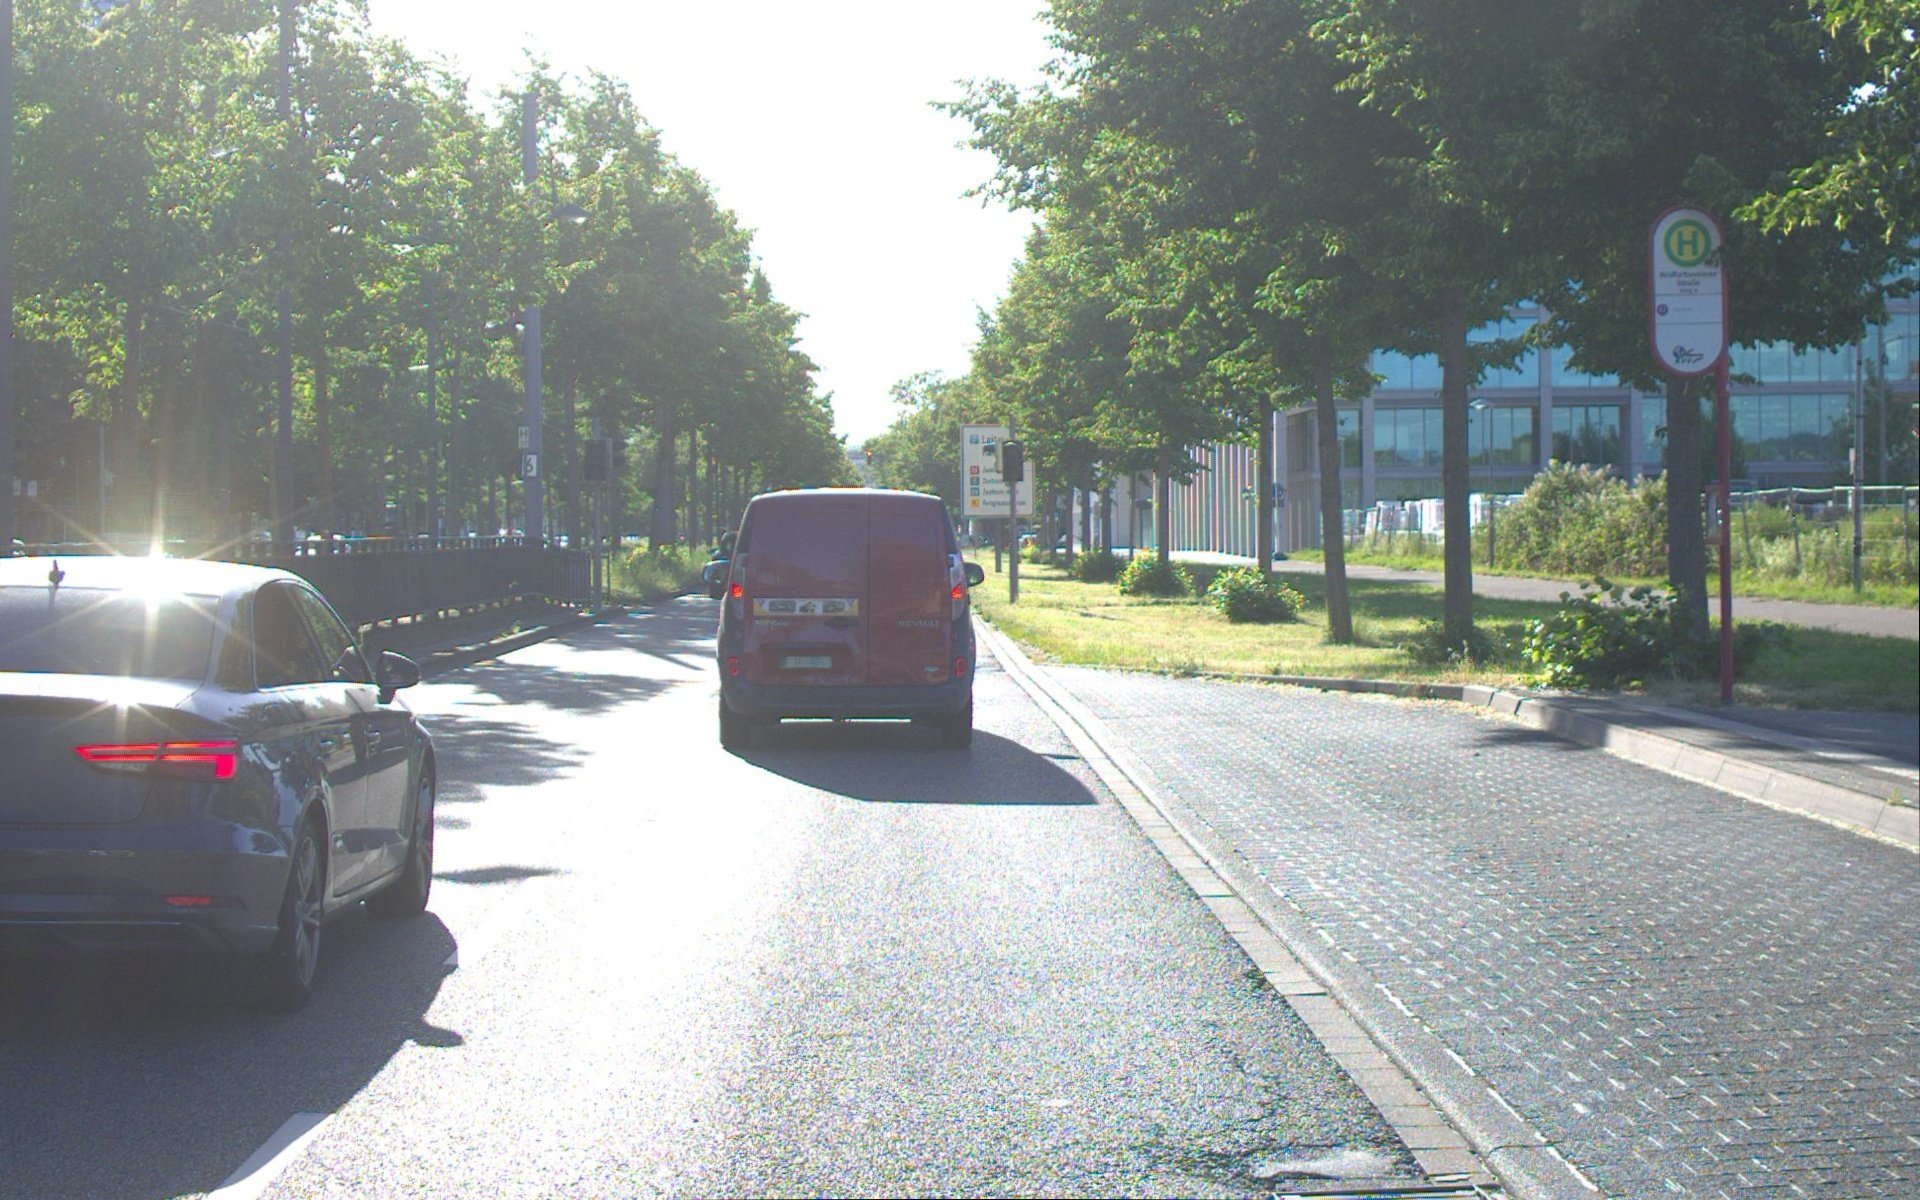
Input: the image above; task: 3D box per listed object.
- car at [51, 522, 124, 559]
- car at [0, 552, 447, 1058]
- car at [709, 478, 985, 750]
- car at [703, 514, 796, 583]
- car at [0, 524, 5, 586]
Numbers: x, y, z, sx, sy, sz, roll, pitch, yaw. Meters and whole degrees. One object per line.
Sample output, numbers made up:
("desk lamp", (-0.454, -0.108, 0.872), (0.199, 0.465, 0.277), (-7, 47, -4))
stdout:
("car", (-33.456, -2.296, 131.900), (1.715, 1.415, 4.545), (0, 1, -1))
("car", (-2.907, 0.556, 11.836), (1.721, 1.361, 4.146), (1, 1, -1))
("car", (-0.852, 0.040, 24.958), (1.797, 1.771, 4.001), (1, 2, -3))
("car", (-4.551, -1.122, 74.571), (1.942, 1.436, 4.001), (-1, 1, -3))
("car", (-24.247, -1.048, 82.572), (1.679, 1.515, 3.701), (-1, 1, -1))
